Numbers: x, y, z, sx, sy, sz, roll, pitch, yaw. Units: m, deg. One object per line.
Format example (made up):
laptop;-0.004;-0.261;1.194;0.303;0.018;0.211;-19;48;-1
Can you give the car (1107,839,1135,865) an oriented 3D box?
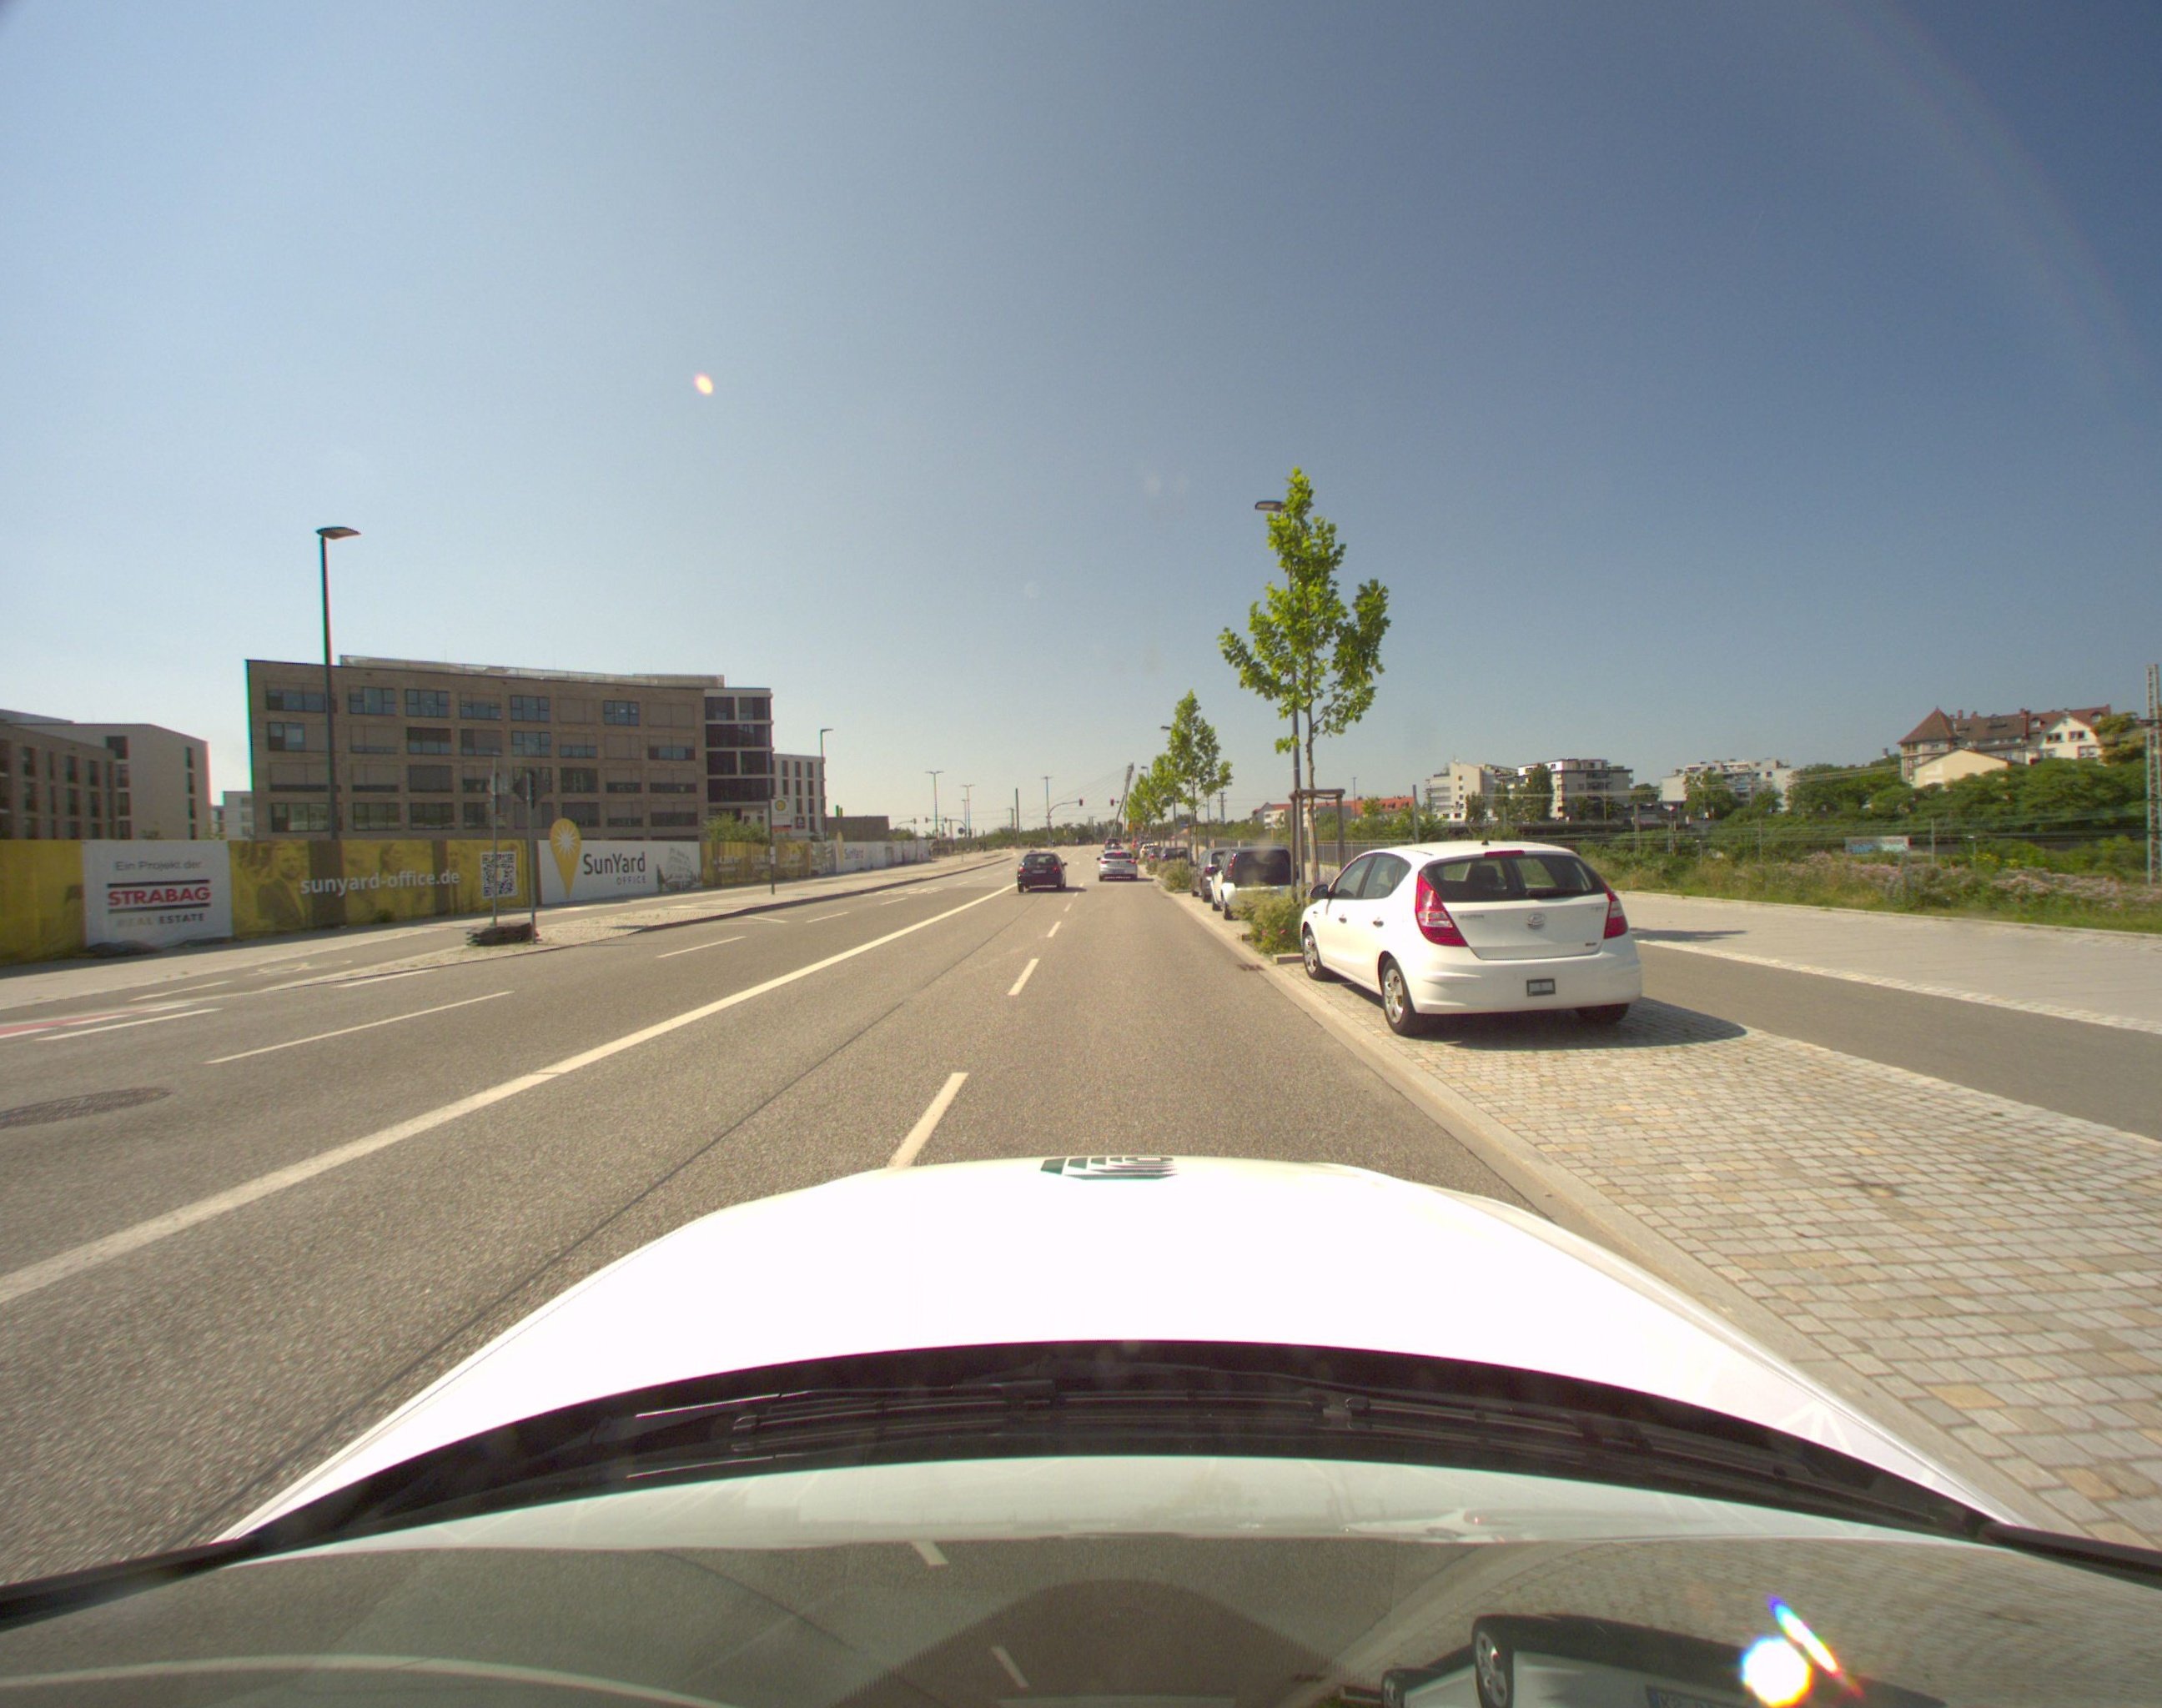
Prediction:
car;2.705;-0.173;55.095;1.771;1.568;4.003;-2;2;2

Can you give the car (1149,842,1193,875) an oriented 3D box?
car;4.404;0.224;40.440;1.698;1.462;3.953;-3;0;0

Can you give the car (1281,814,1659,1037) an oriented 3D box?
car;3.241;0.485;7.761;1.740;1.509;4.003;-2;0;1

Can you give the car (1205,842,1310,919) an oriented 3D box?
car;3.833;0.515;18.340;1.696;1.462;4.089;-3;0;4

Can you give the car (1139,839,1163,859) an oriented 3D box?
car;5.576;-0.451;65.415;1.689;1.475;4.209;-3;1;3

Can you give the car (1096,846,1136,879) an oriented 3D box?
car;1.671;0.374;38.571;1.771;1.442;4.003;-1;1;3

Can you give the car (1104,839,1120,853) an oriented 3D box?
car;3.808;-1.001;99.292;1.771;1.568;4.003;-2;0;2

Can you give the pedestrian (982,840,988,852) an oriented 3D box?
pedestrian;-14.018;-1.146;118.799;0.842;1.646;0.827;-1;1;-3

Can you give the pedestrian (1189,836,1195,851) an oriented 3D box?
pedestrian;11.430;-1.078;84.111;0.531;1.575;0.524;-1;-1;2

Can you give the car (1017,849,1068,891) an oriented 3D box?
car;-1.392;0.555;30.717;1.614;1.416;3.728;-2;0;1

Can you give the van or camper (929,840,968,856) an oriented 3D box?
van or camper;-17.452;-0.849;107.264;1.975;1.897;4.746;-2;1;45

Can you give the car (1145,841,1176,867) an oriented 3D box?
car;4.830;-0.018;49.832;1.697;1.401;4.273;-3;0;3

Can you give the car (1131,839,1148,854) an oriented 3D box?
car;6.472;-0.851;90.217;1.771;1.503;4.003;-3;1;2

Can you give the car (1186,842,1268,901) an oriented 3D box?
car;4.125;0.434;23.590;1.698;1.462;3.956;-3;1;2

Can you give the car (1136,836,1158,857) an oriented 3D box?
car;5.819;-0.698;72.073;1.814;1.616;3.615;-3;1;3
